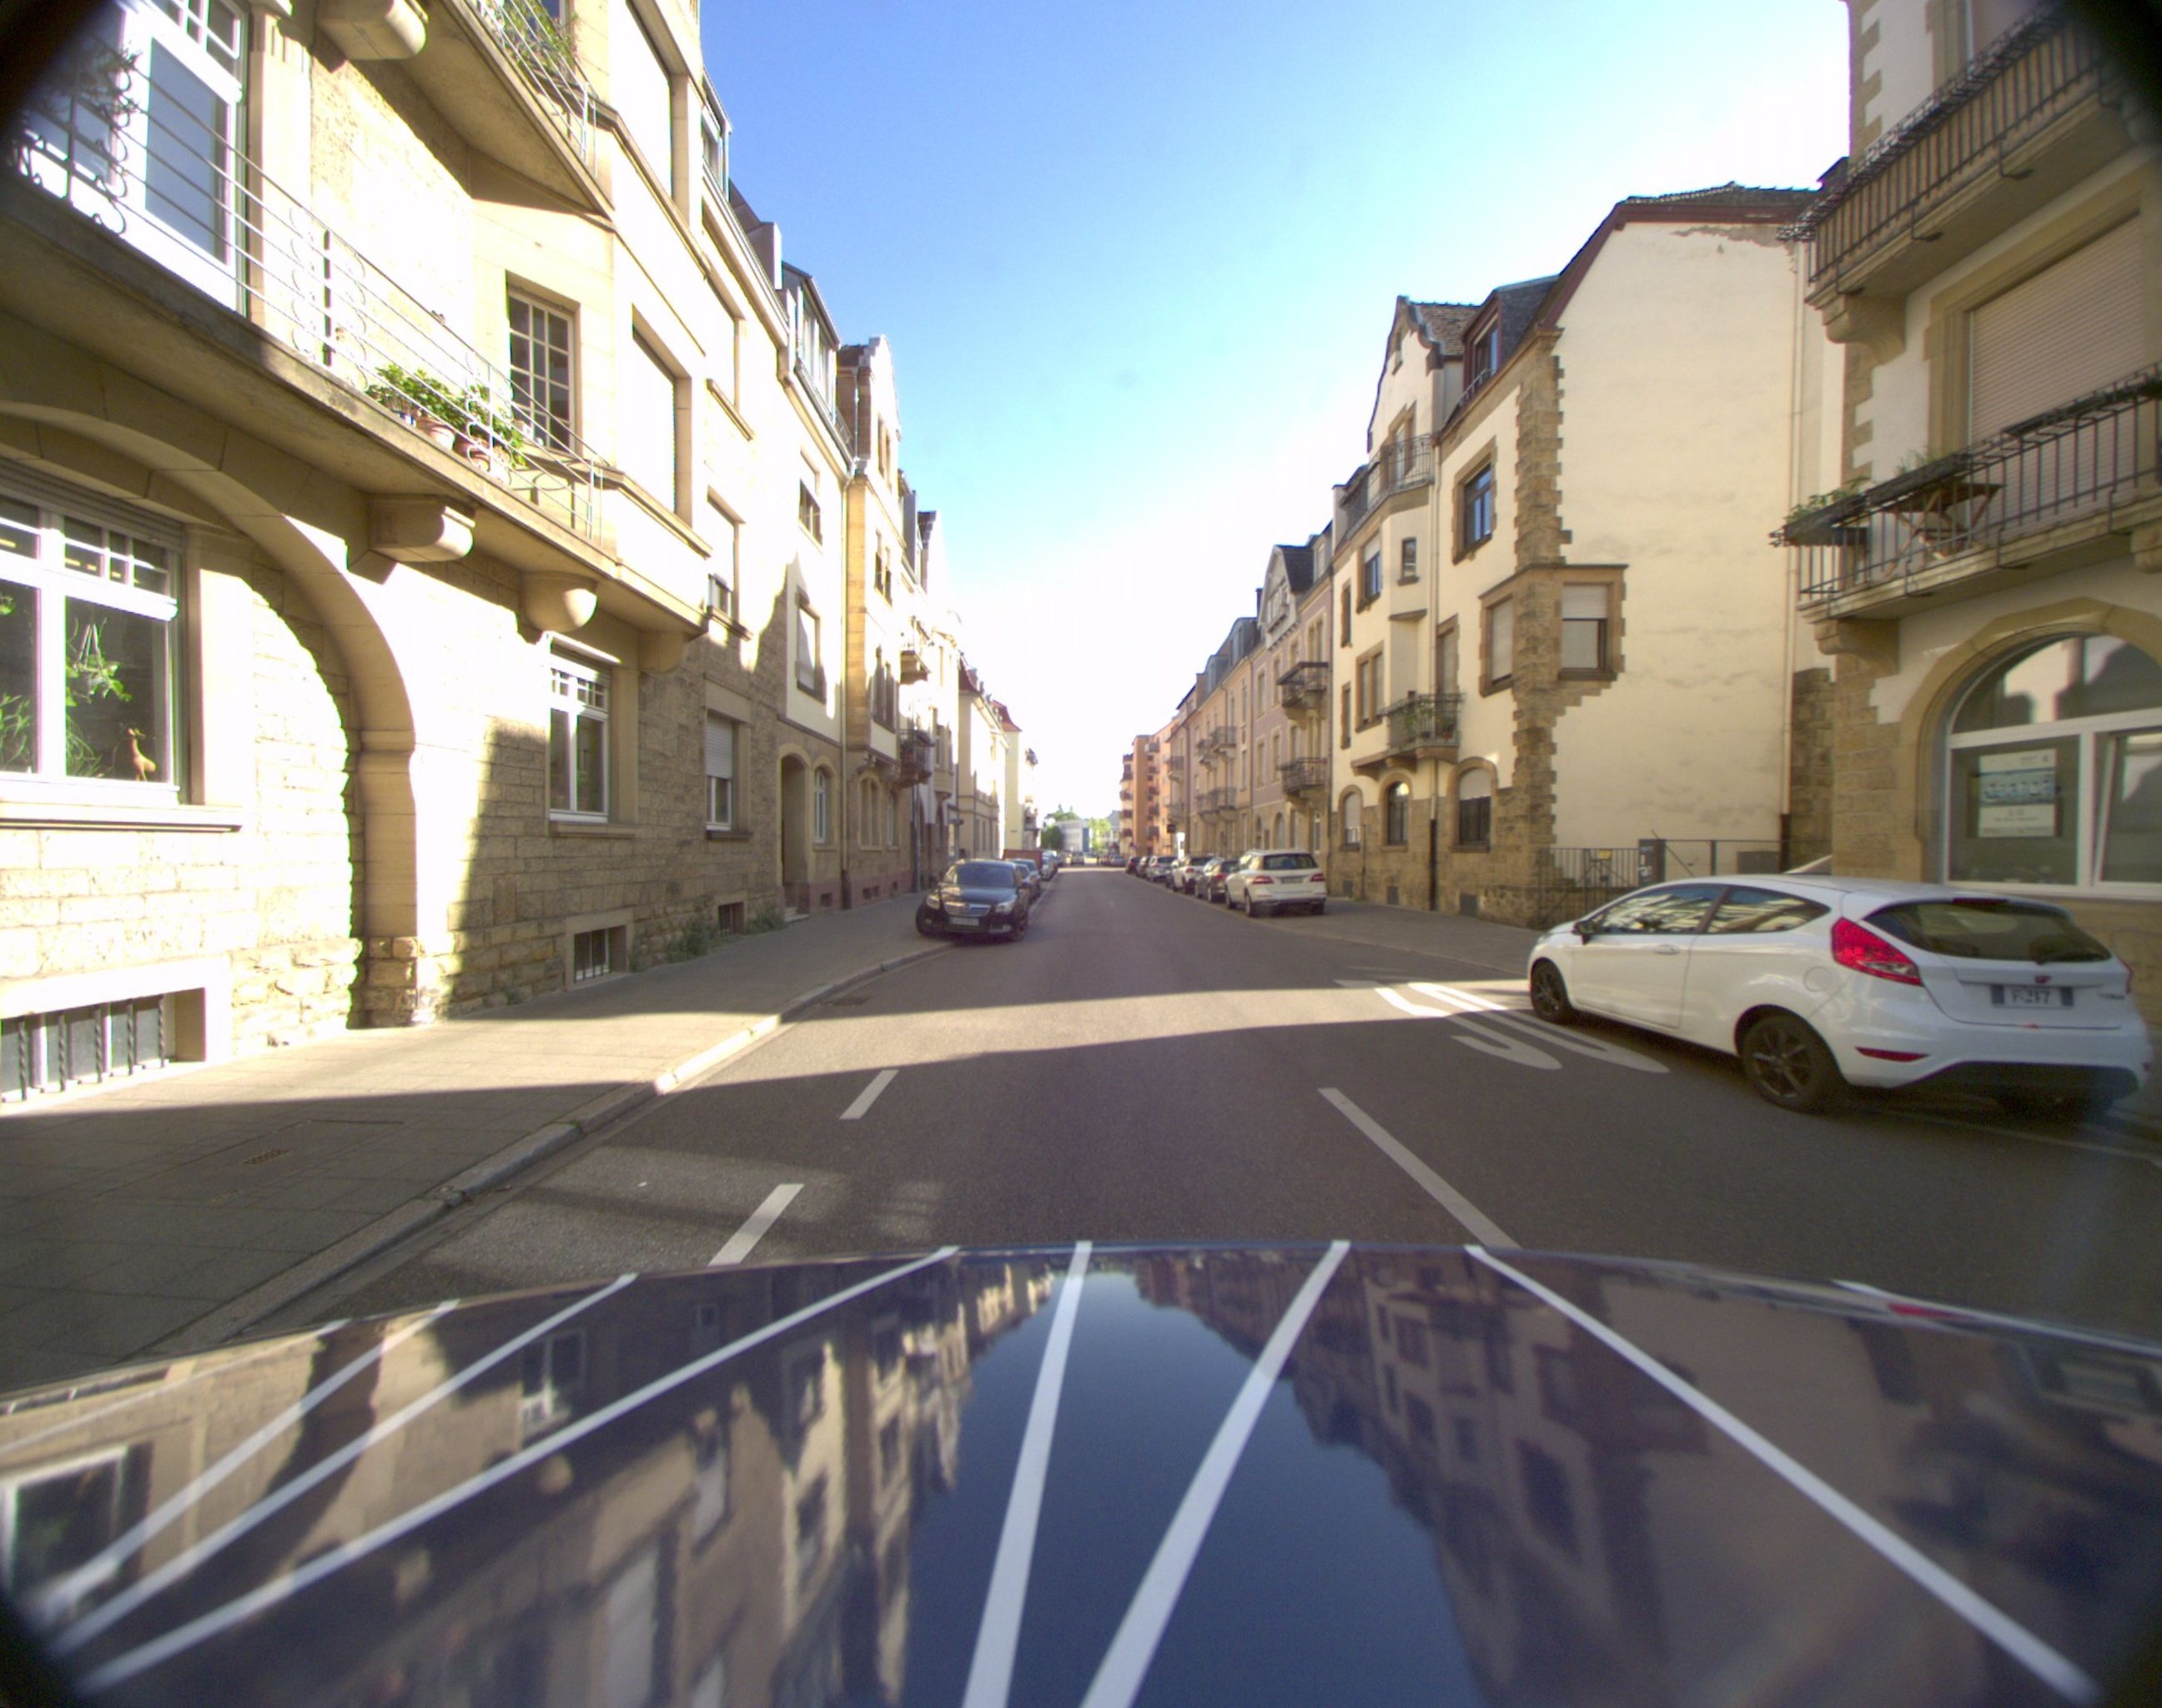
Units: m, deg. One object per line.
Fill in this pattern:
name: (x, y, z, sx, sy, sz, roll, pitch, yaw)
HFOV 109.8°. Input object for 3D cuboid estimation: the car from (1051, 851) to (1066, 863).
car: (-2.757, 0.333, 93.355, 1.708, 1.417, 3.721, 1, 1, -1)

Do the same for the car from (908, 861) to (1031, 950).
car: (-2.066, 0.907, 15.275, 1.870, 1.454, 4.338, 0, 0, -1)

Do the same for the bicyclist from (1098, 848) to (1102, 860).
bicyclist: (2.604, -0.021, 103.566, 0.609, 1.656, 0.632, 0, 1, 0)

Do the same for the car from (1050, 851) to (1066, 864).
car: (-2.614, 0.379, 87.891, 1.708, 1.417, 3.721, 1, 1, -1)

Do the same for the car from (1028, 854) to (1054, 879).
car: (-2.471, 0.743, 47.634, 1.590, 1.456, 3.711, 0, 0, -2)

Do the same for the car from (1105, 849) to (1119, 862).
car: (4.299, 0.170, 107.007, 1.822, 1.867, 4.111, 0, 0, 0)

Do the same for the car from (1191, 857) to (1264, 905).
car: (5.037, 0.869, 26.595, 1.578, 1.479, 4.279, -2, 0, -2)

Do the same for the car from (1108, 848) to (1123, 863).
car: (4.623, 0.200, 101.998, 1.822, 1.867, 4.110, 0, 0, 0)

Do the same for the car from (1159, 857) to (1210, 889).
car: (5.045, 0.918, 37.574, 1.677, 1.385, 3.664, -3, 0, -5)

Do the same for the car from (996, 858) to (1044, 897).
car: (-2.439, 0.885, 30.552, 1.791, 1.421, 3.806, 0, 0, -4)

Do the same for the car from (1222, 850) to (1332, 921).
car: (5.213, 0.753, 20.907, 1.896, 1.712, 4.726, -1, 0, 1)

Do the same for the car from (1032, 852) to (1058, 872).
car: (-2.762, 0.599, 59.089, 1.684, 1.537, 3.914, 1, 0, 1)

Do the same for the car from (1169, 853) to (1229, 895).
car: (4.922, 0.778, 32.189, 1.719, 1.574, 4.019, -3, 0, -2)

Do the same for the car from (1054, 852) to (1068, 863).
car: (-2.652, 0.404, 99.705, 1.708, 1.417, 3.721, 0, 0, -2)

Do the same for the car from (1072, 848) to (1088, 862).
car: (-0.136, 0.130, 102.361, 1.868, 1.926, 4.598, 0, 0, -3)

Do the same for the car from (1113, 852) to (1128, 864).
car: (4.727, 0.513, 91.184, 1.678, 1.414, 3.500, 0, 0, 0)

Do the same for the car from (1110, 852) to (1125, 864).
car: (4.620, 0.498, 96.357, 1.678, 1.414, 3.285, 0, 0, 0)

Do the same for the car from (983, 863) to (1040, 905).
car: (-2.274, 0.952, 25.620, 1.697, 1.247, 3.940, -1, 0, -2)

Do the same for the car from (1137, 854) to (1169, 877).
car: (4.894, 0.749, 52.395, 1.719, 1.512, 4.109, 1, 0, -1)

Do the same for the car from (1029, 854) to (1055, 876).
car: (-2.669, 0.734, 53.020, 1.657, 1.456, 4.093, 0, 0, -1)

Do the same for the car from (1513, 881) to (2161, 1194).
car: (5.119, 1.013, 5.795, 1.637, 1.455, 3.735, 0, 1, 2)

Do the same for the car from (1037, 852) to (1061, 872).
car: (-2.644, 0.635, 63.523, 1.791, 1.655, 4.434, 0, 0, 1)

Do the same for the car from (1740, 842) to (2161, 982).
car: (11.835, 0.716, 10.386, 3.978, 1.718, 1.909, 0, 0, 0)

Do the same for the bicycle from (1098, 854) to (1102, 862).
bicycle: (2.610, 0.571, 103.598, 0.541, 1.070, 1.800, 0, 0, 1)

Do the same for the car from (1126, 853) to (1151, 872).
car: (4.724, 0.671, 62.682, 1.719, 1.378, 3.864, -3, 0, 0)

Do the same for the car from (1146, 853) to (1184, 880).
car: (5.002, 0.740, 45.703, 1.719, 1.529, 3.722, -1, 0, -2)

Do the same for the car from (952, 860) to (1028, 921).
car: (-2.380, 0.925, 20.834, 1.655, 1.434, 4.257, 1, 0, -1)
